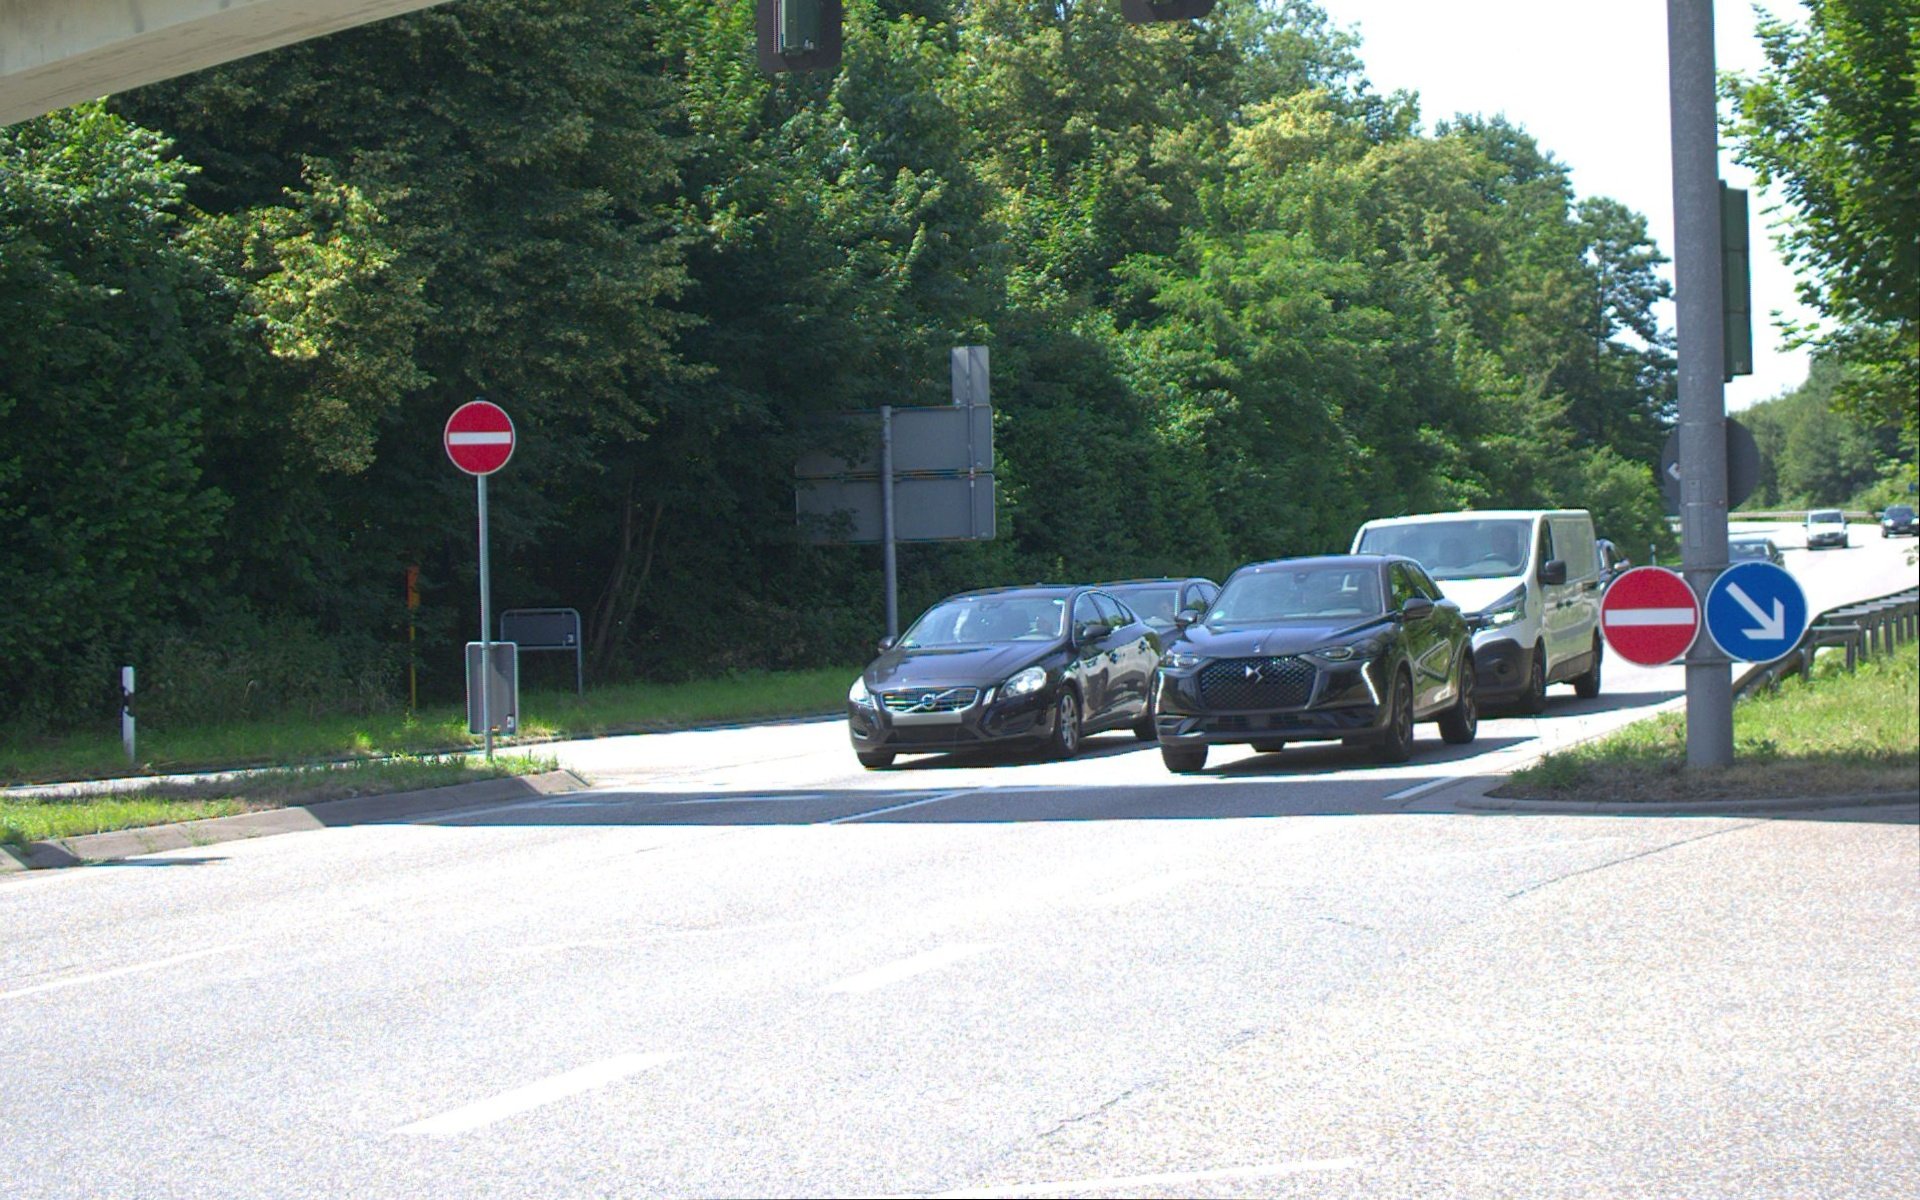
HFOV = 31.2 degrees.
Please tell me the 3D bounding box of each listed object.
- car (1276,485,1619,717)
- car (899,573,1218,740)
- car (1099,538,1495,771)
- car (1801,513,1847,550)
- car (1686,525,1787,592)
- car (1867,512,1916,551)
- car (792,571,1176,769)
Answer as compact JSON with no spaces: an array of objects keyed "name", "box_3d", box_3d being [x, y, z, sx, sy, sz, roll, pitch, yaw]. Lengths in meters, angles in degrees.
[{"name":"car","box_3d":[4.841,-0.035,33.378,2.210,1.986,5.483,-3,0,19]},{"name":"car","box_3d":[1.060,0.524,34.394,2.010,1.455,4.051,-3,0,19]},{"name":"car","box_3d":[2.614,0.355,25.752,1.995,1.518,4.024,-3,0,19]},{"name":"car","box_3d":[40.861,-3.234,162.678,1.995,1.744,3.998,0,1,13]},{"name":"car","box_3d":[19.906,-1.069,88.056,2.010,1.596,4.051,-3,0,19]},{"name":"car","box_3d":[48.438,-3.559,178.816,1.994,2.007,3.999,0,1,8]},{"name":"car","box_3d":[0.293,0.553,29.225,2.010,1.455,4.051,-3,0,19]}]
